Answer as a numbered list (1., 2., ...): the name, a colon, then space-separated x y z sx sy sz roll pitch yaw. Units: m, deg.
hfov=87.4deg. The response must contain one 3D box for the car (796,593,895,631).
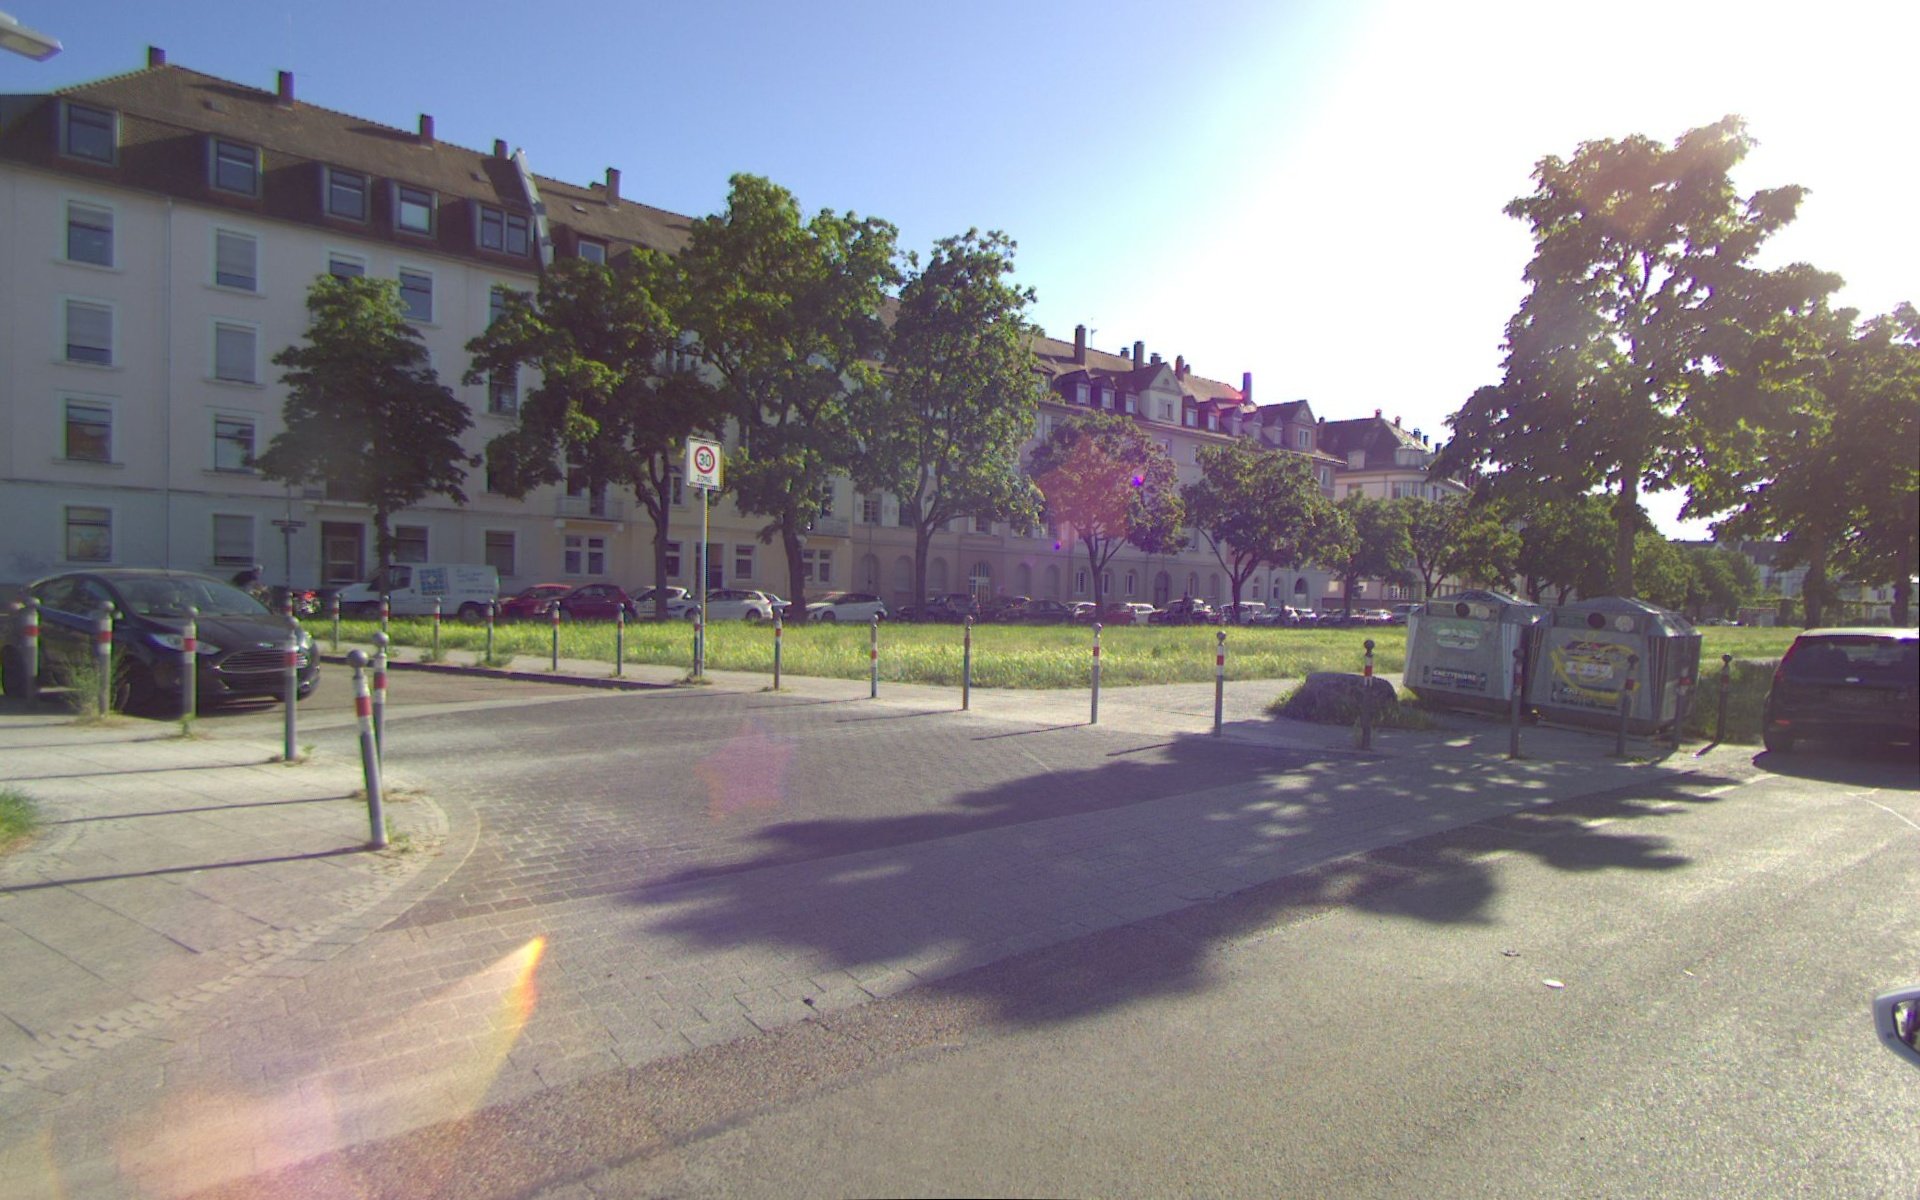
1. car: -4.971 0.525 43.892 4.049 1.547 1.679 1 1 -41

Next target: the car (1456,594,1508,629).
1. car: 43.838 0.970 84.283 5.581 2.780 1.898 1 1 -41

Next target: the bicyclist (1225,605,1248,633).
1. bicyclist: 14.697 0.997 53.426 0.934 1.456 0.732 2 -1 -39

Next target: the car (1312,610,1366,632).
1. car: 26.427 1.471 69.949 3.741 1.459 1.831 1 1 -39

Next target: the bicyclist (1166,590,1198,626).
1. bicyclist: 11.867 0.449 53.669 1.437 1.862 0.934 2 -1 -39

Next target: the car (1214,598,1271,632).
1. car: 20.259 1.095 71.926 4.428 2.289 1.761 1 1 -41

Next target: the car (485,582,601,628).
1. car: -17.135 0.233 41.354 4.018 1.775 1.978 1 1 -38

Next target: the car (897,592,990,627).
1. car: -0.754 0.467 47.103 4.321 1.570 1.617 1 1 -41

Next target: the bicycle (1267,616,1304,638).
1. bicycle: 19.228 1.586 59.296 2.613 1.269 0.803 1 1 -41

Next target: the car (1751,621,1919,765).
1. car: 10.885 1.004 11.717 3.881 1.443 1.735 2 -2 -38

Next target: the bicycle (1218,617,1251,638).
1. bicycle: 14.599 1.443 53.378 1.940 1.093 0.726 1 1 -41

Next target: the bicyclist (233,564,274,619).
1. bicyclist: -22.521 -0.277 32.019 0.621 1.713 0.877 1 1 31

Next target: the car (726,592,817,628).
1. car: -8.977 0.477 47.903 3.829 1.636 1.869 1 1 -40

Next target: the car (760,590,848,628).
1. car: -7.153 0.411 46.126 3.563 1.623 1.761 1 1 -40

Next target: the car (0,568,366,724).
1. car: -8.986 0.382 11.405 4.268 1.428 1.917 2 3 28

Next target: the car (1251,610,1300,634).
1. car: 20.352 1.436 64.755 3.311 1.459 1.370 1 1 -38

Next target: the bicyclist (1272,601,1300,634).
1. bicyclist: 19.275 1.035 59.323 1.438 1.862 0.933 2 -1 -40

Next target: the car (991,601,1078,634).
1. car: 3.822 0.883 51.187 4.493 1.570 1.741 1 1 -41

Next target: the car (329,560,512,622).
1. car: -17.968 -0.270 33.577 5.059 1.897 2.063 1 1 -41

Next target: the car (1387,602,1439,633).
1. car: 34.429 1.315 76.263 4.970 2.243 1.679 2 1 -41

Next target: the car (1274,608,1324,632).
1. car: 25.854 1.514 76.545 3.967 1.772 1.844 1 1 -40

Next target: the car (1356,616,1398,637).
1. car: 30.093 1.898 72.515 3.207 1.459 1.503 1 1 -41

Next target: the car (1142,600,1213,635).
1. car: 12.715 1.033 58.479 4.426 1.933 1.721 1 1 -41

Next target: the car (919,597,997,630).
1. car: -0.083 0.745 55.067 3.962 1.724 1.833 1 1 -36

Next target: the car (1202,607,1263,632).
1. car: 16.766 1.210 61.802 3.740 1.448 1.681 1 1 -38

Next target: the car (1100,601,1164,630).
1. car: 11.054 1.000 64.506 3.993 1.775 1.925 1 1 -40

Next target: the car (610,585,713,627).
1. car: -13.214 0.276 44.508 3.967 1.781 1.847 1 1 -40

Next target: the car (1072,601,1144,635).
1. car: 8.101 0.990 54.650 4.049 1.709 1.617 1 1 -41

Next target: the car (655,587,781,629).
1. car: -9.588 0.331 40.038 4.661 1.582 1.679 1 1 -41

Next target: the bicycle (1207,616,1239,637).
1. bicycle: 14.253 1.439 54.421 1.940 1.093 0.726 1 1 -41

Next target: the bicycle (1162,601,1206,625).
1. bicycle: 11.975 0.695 53.699 2.611 1.269 0.804 1 1 -38

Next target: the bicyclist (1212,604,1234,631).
1. bicyclist: 14.238 0.936 54.368 0.934 1.457 0.732 0 2 -39

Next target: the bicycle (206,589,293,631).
1. bicycle: -22.579 0.303 31.944 0.702 1.275 2.149 2 1 31

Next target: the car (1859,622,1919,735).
1. car: 14.490 1.101 14.375 3.840 1.514 1.764 2 -2 -38

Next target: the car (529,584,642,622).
1. car: -13.636 0.109 36.679 3.499 1.296 1.679 1 1 -41
